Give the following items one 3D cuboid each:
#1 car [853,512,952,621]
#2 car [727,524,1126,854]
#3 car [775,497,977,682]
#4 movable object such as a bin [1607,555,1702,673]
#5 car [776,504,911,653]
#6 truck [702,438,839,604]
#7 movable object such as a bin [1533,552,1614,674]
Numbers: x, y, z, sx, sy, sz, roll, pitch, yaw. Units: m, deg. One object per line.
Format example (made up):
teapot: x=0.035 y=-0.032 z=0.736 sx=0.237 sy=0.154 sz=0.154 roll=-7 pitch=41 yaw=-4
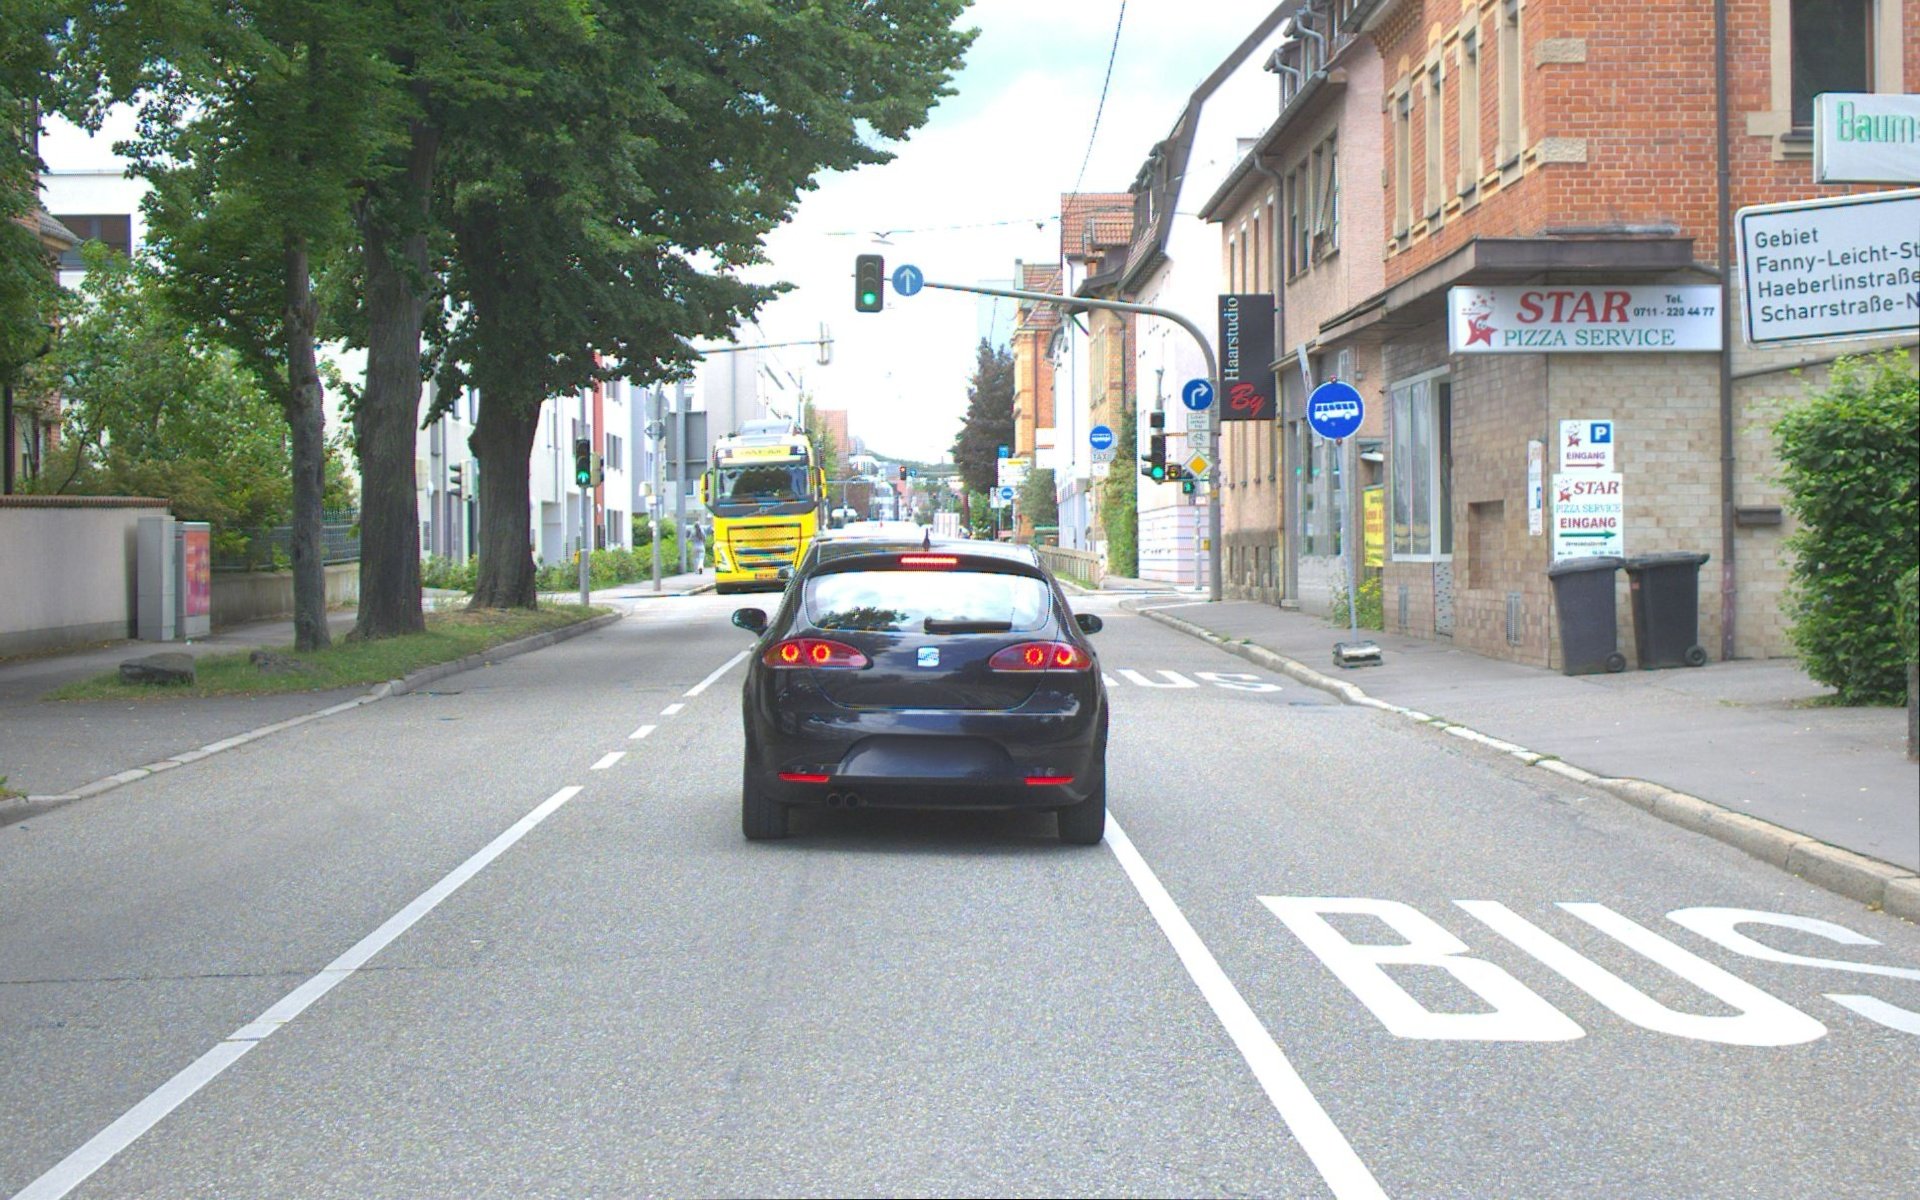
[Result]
car: x=-0.955 y=-0.548 z=56.512 sx=1.531 sy=1.687 sz=3.693 roll=2 pitch=1 yaw=-1
car: x=-0.177 y=0.381 z=17.479 sx=1.759 sy=1.437 sz=4.000 roll=2 pitch=1 yaw=-1
car: x=-0.826 y=-0.117 z=34.202 sx=1.842 sy=1.687 sz=4.000 roll=2 pitch=1 yaw=-1
movable object such as a bin: x=6.362 y=0.119 z=31.539 sx=0.698 sy=1.055 sz=0.723 roll=-1 pitch=0 yaw=0
car: x=-1.390 y=-0.270 z=41.811 sx=1.531 sy=1.687 sz=3.693 roll=2 pitch=1 yaw=-1
truck: x=-4.527 y=-1.880 z=83.533 sx=2.843 sy=3.769 sz=7.669 roll=2 pitch=1 yaw=0
movable object such as a bin: x=5.616 y=0.117 z=31.479 sx=0.606 sy=1.097 sz=0.622 roll=-1 pitch=0 yaw=0
